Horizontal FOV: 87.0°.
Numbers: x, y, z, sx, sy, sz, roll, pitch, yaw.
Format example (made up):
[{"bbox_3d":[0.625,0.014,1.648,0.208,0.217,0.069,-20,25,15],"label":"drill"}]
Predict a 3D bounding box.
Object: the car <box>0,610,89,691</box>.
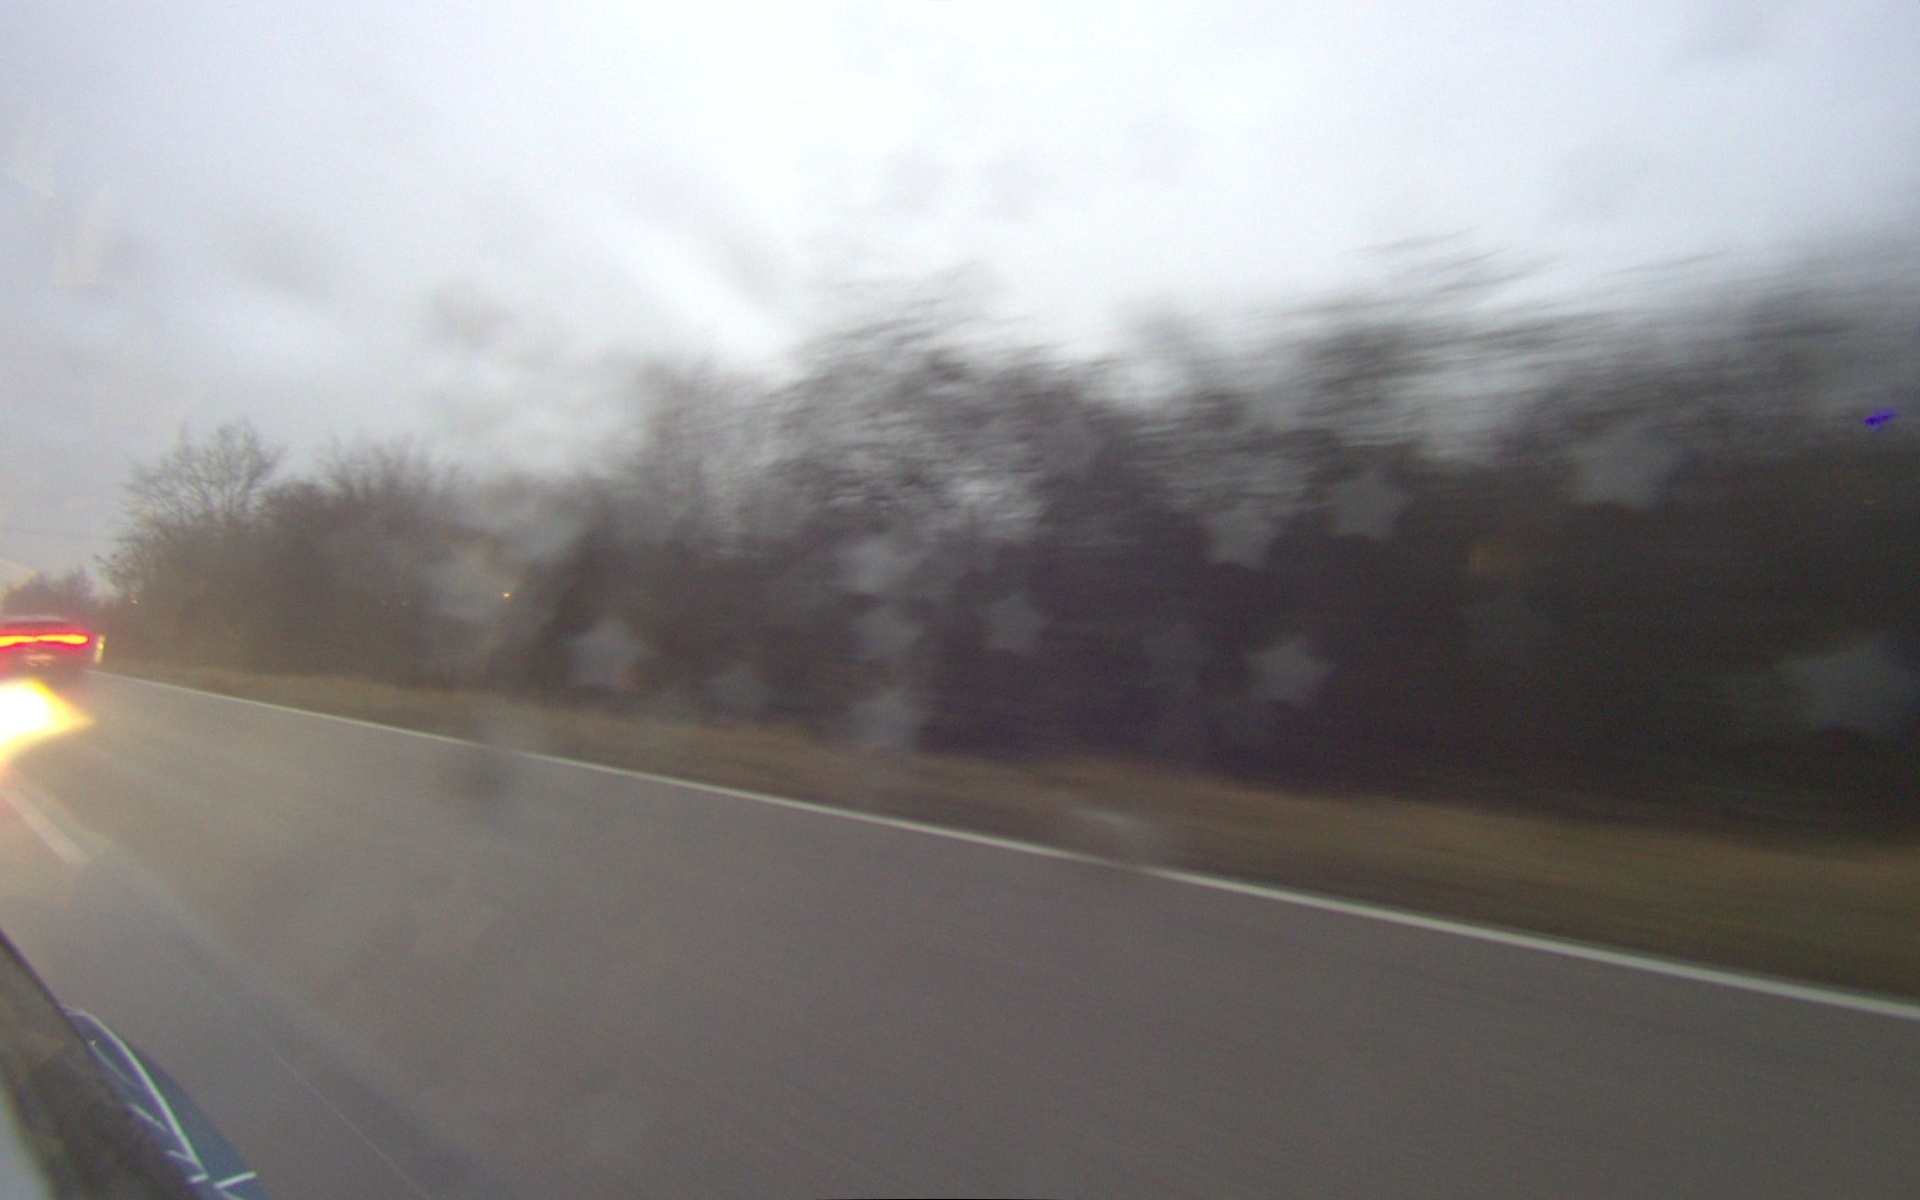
[{"bbox_3d":[-22.206,1.161,24.101,4.257,1.764,1.766,-2,-2,43],"label":"car"}]
